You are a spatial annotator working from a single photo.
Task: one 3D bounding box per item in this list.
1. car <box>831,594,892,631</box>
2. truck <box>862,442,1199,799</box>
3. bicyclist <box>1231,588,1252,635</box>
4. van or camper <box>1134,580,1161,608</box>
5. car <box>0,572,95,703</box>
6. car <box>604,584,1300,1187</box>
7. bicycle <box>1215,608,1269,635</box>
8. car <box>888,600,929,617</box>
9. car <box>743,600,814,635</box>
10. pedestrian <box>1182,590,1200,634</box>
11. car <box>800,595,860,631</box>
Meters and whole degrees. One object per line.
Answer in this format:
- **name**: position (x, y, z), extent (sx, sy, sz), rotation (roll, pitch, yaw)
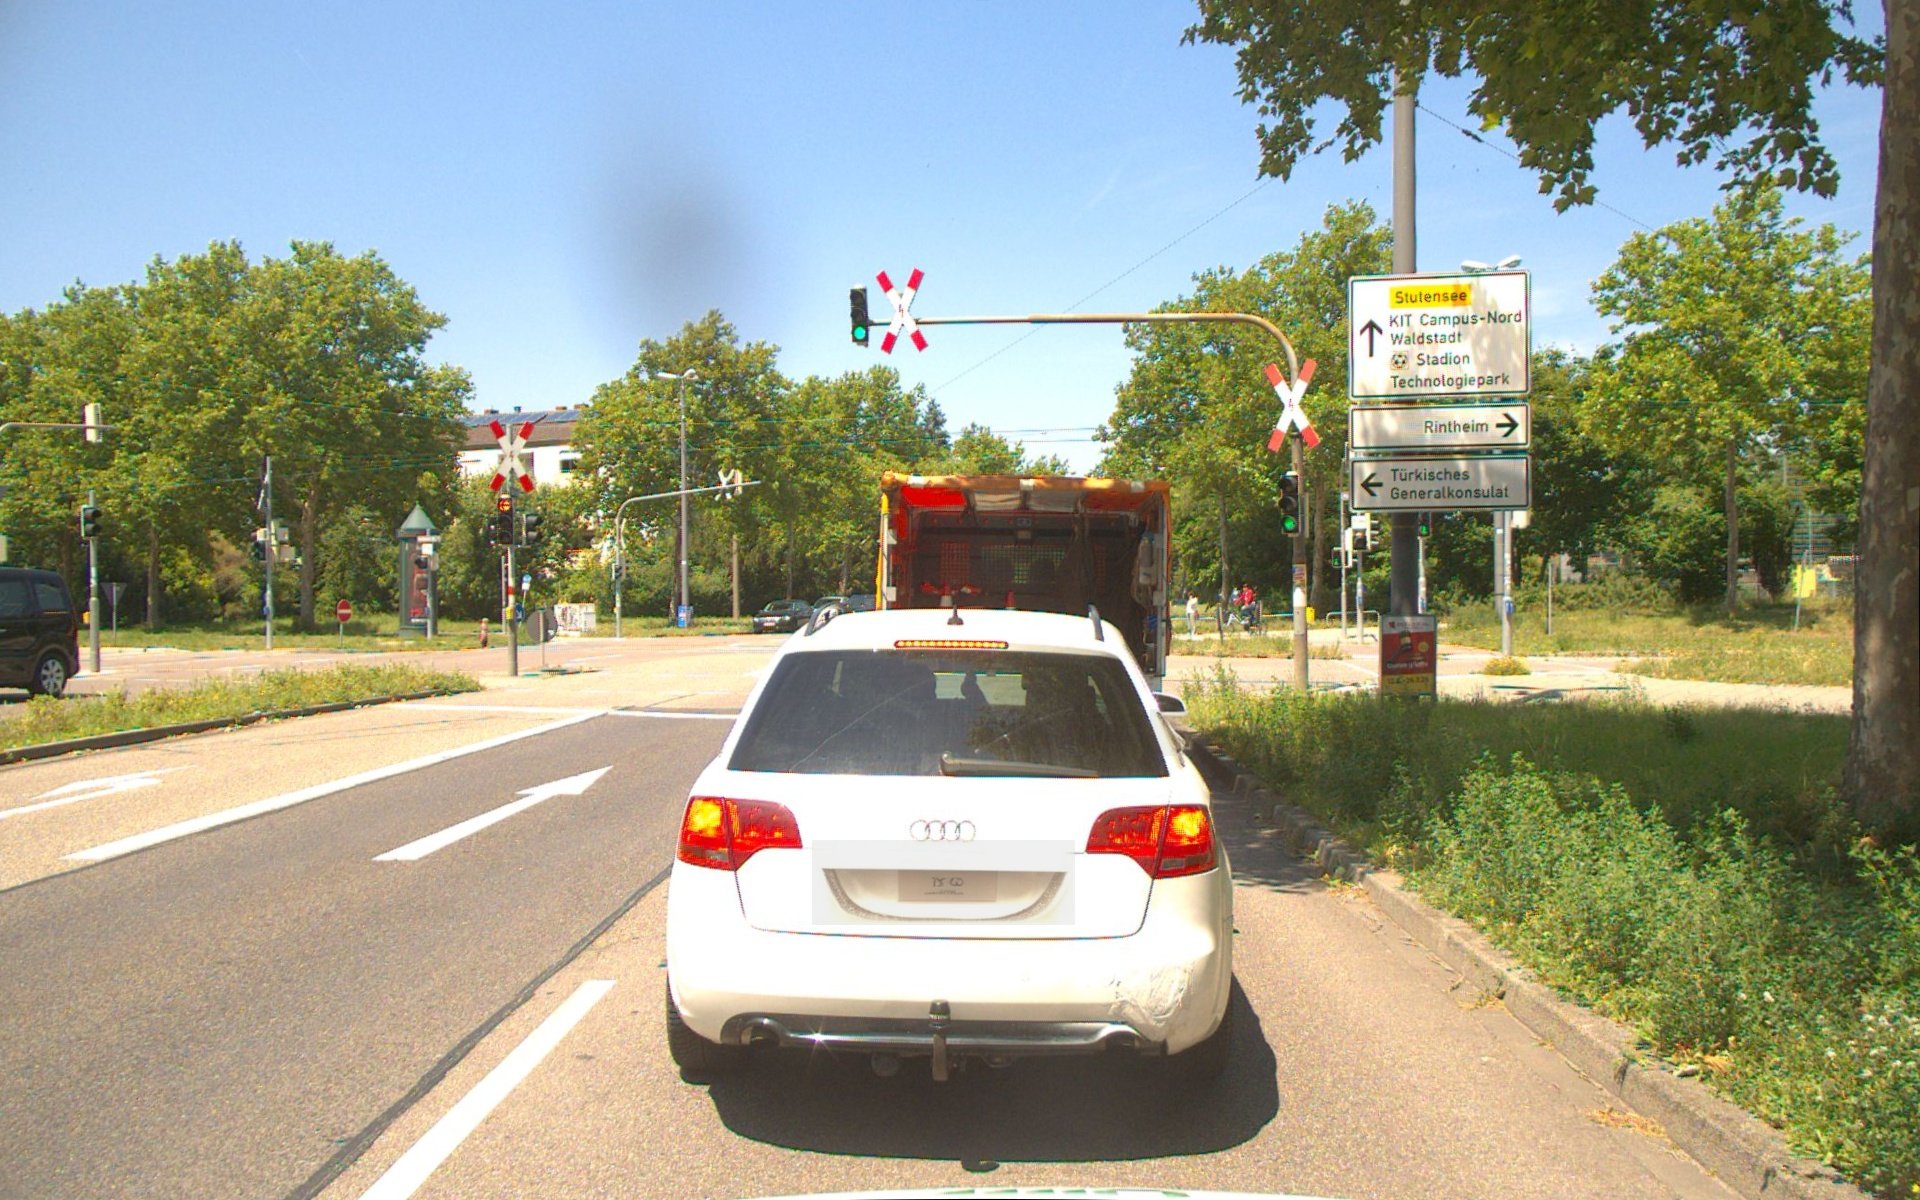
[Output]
- **car**: position (-4.381, 0.524, 74.050), extent (1.868, 1.566, 4.302), rotation (-1, 0, 8)
- **truck**: position (0.677, 0.158, 16.089), extent (2.459, 2.604, 7.605), rotation (1, 0, 2)
- **bicyclist**: position (9.517, 0.385, 55.961), extent (0.657, 1.583, 0.580), rotation (0, -1, 5)
- **van or camper**: position (22.673, -0.698, 200.032), extent (2.604, 3.389, 5.505), rotation (0, 0, 14)
- **car**: position (-13.552, 0.502, 21.372), extent (1.870, 1.708, 4.448), rotation (-1, 0, 10)
- **car**: position (0.078, 0.695, 5.925), extent (1.725, 1.470, 3.617), rotation (0, 0, 3)
- **bicycle**: position (9.538, 0.719, 55.955), extent (1.767, 0.911, 0.589), rotation (0, 0, 5)
- **car**: position (-4.326, 0.693, 139.137), extent (1.844, 1.417, 3.997), rotation (0, 0, 26)
- **car**: position (-8.023, 0.752, 73.512), extent (1.907, 1.465, 4.751), rotation (0, 1, 9)
- **pedestrian**: position (8.145, 0.419, 58.410), extent (0.541, 1.510, 0.630), rotation (-1, 0, 16)
- **car**: position (-6.304, 0.610, 80.641), extent (1.749, 1.643, 4.408), rotation (-1, 0, 11)
